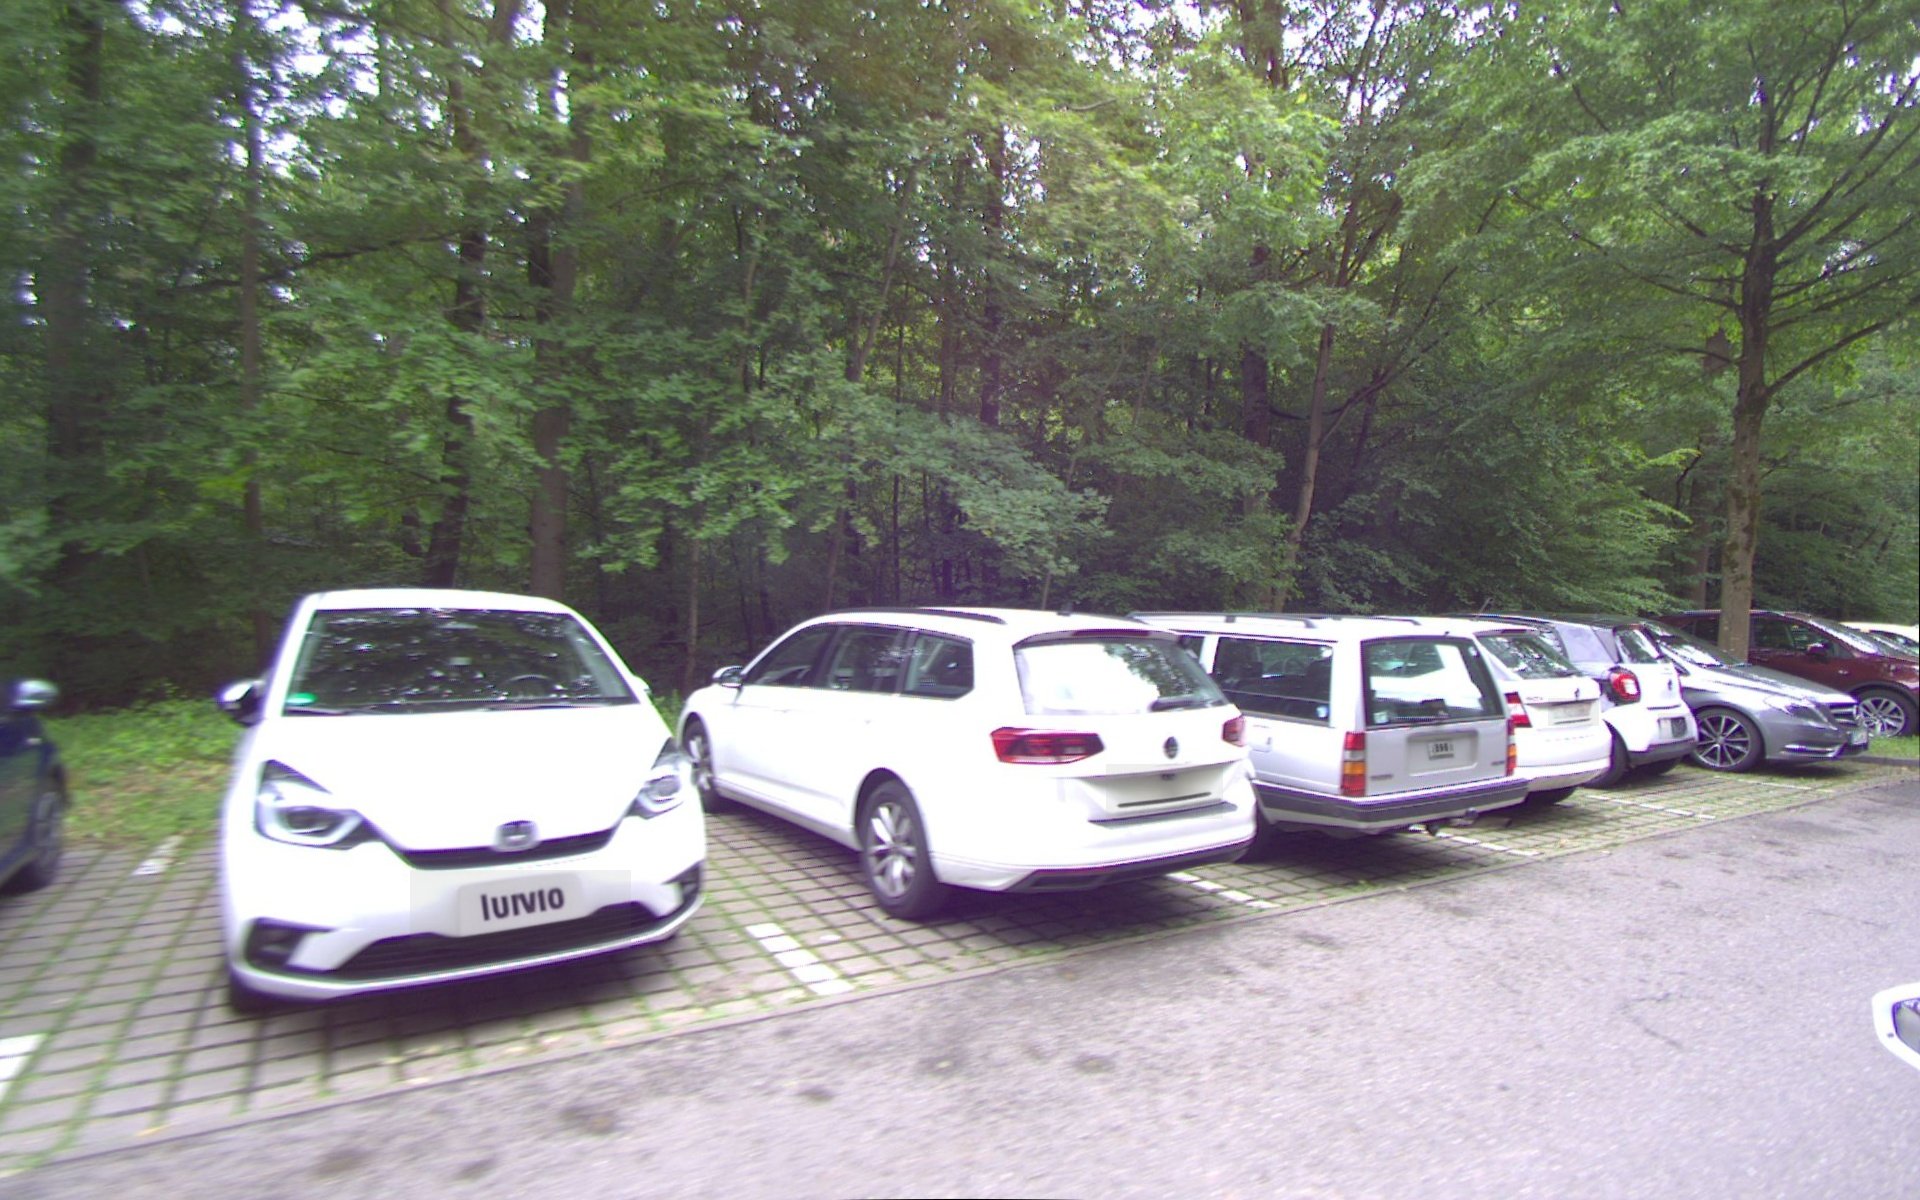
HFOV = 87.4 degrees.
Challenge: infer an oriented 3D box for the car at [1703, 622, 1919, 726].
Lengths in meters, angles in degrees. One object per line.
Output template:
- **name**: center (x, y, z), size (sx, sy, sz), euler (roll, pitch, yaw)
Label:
- **car**: center (14.147, 1.118, 15.466), size (1.768, 1.382, 3.963), euler (1, 1, -33)

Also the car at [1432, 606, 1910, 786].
- **car**: center (7.805, 0.908, 11.414), size (1.899, 1.576, 4.010), euler (1, 0, -33)

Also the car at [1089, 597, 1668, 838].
- **car**: center (3.372, 0.789, 9.058), size (1.919, 1.506, 4.536), euler (1, 1, -32)

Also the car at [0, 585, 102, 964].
- **car**: center (-4.513, 0.668, 3.608), size (1.662, 1.463, 3.201), euler (1, 0, -31)

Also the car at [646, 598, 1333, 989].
- **car**: center (-0.250, 0.760, 6.338), size (2.065, 1.467, 4.533), euler (1, 0, -34)

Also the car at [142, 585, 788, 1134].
- **car**: center (-2.625, 0.714, 5.100), size (1.872, 1.506, 4.339), euler (2, 0, -33)

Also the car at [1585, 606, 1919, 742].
- **car**: center (11.806, 0.948, 14.367), size (1.906, 1.605, 4.489), euler (1, 0, -32)

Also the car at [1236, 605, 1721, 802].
- **car**: center (5.236, 0.896, 10.678), size (1.830, 1.571, 4.204), euler (1, 0, -36)

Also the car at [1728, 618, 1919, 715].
- **car**: center (15.958, 1.127, 17.260), size (1.778, 1.484, 4.003), euler (1, 0, -30)

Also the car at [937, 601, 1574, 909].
- **car**: center (1.743, 0.805, 7.522), size (1.848, 1.506, 4.539), euler (1, 0, -31)

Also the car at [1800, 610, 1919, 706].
- **car**: center (18.156, 1.091, 18.097), size (2.006, 1.655, 4.201), euler (1, 1, -32)

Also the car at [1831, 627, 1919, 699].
- **car**: center (19.961, 1.303, 19.750), size (1.792, 1.328, 3.953), euler (0, 1, -35)

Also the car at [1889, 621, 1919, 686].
- **car**: center (24.237, 1.326, 22.743), size (1.817, 1.508, 4.377), euler (1, 1, -31)
